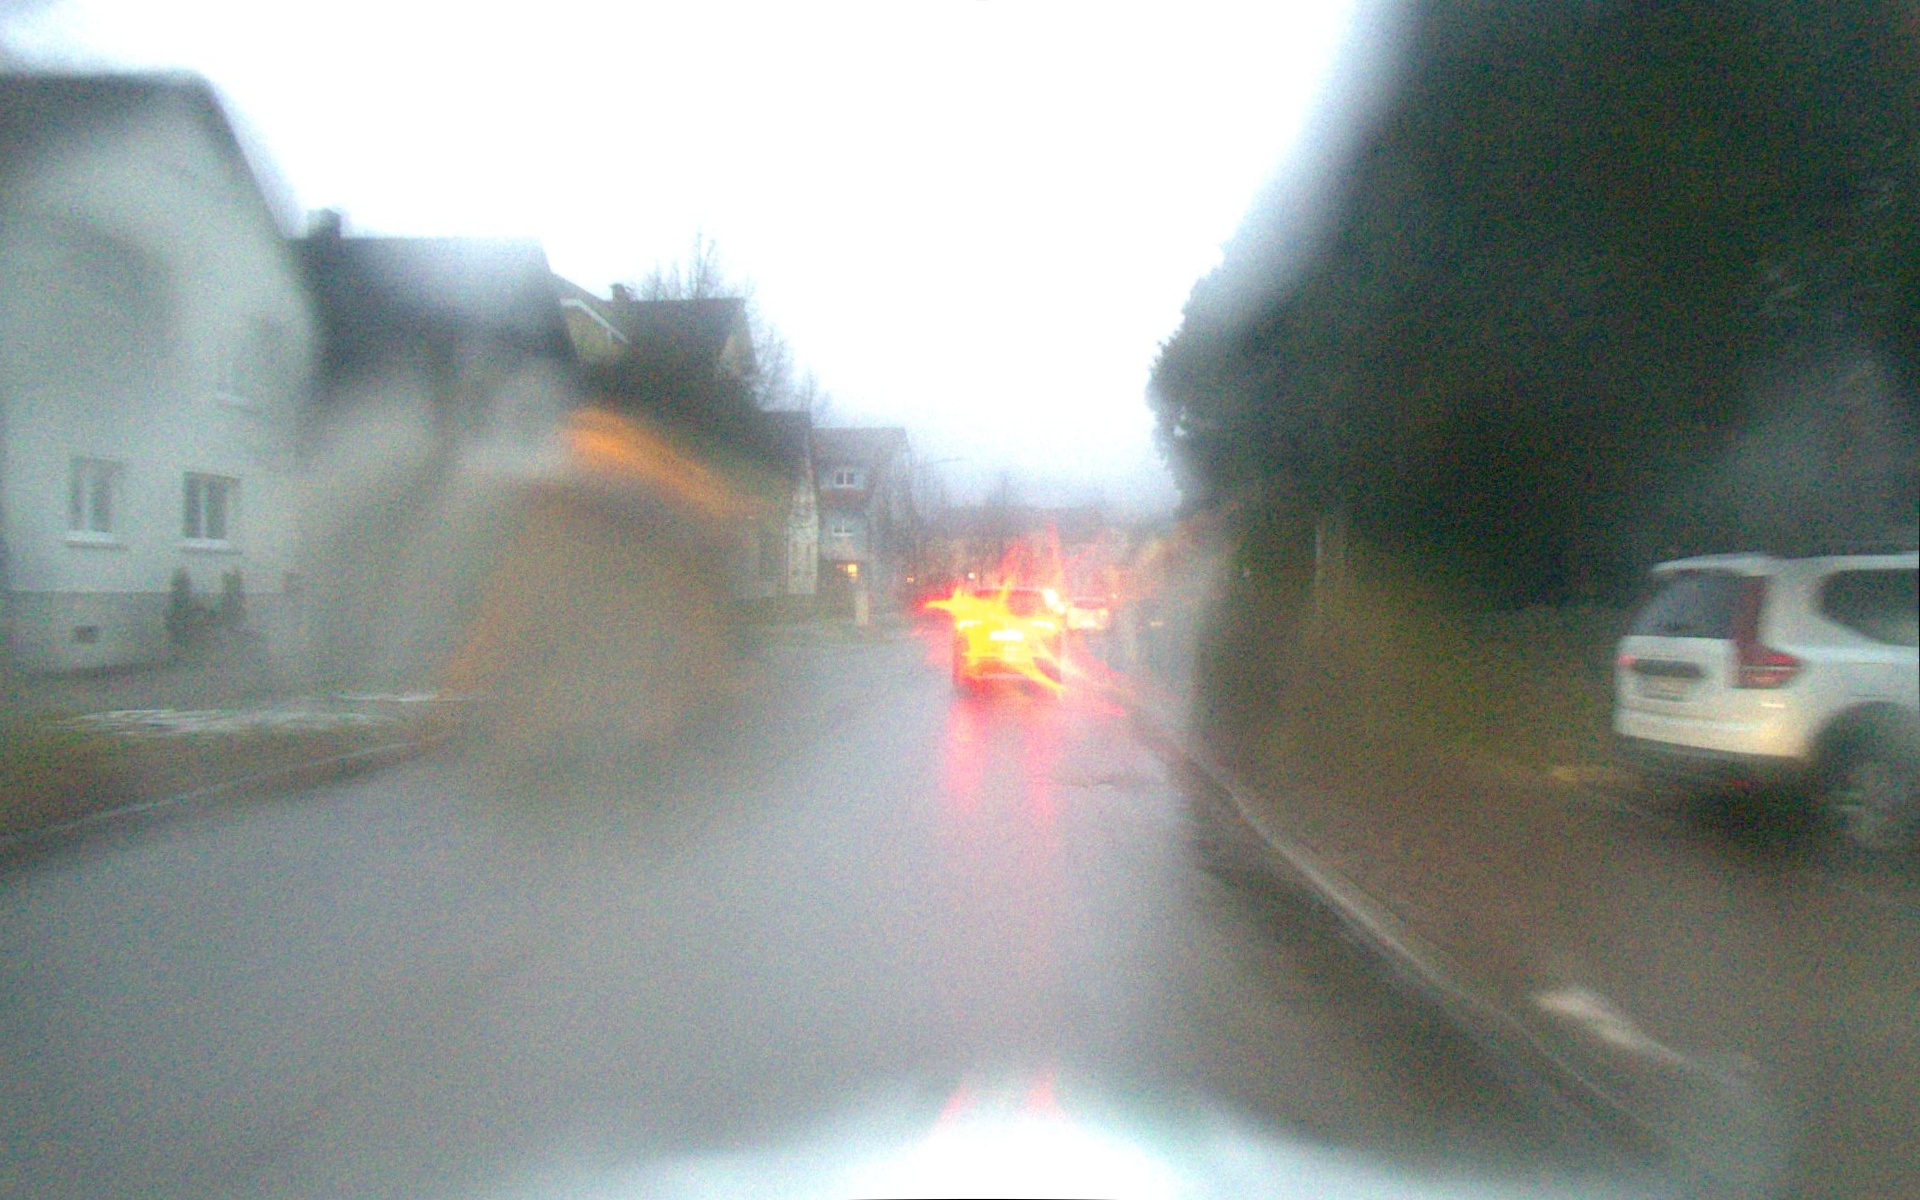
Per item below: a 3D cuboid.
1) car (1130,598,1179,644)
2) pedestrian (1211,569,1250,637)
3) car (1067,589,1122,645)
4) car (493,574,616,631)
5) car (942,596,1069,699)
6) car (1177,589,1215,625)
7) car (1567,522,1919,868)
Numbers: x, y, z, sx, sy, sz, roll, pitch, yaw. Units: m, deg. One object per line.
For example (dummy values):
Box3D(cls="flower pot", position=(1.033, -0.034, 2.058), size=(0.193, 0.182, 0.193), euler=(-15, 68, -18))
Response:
Box3D(cls="car", position=(7.006, 0.754, 59.422), size=(1.614, 1.567, 3.393), euler=(1, -1, 9))
Box3D(cls="pedestrian", position=(7.170, 0.086, 43.865), size=(0.966, 1.772, 1.057), euler=(0, -1, 8))
Box3D(cls="car", position=(5.290, 0.662, 64.736), size=(1.951, 2.049, 4.002), euler=(2, -1, 6))
Box3D(cls="car", position=(-10.826, 0.107, 44.396), size=(1.744, 1.390, 4.003), euler=(2, -1, 9))
Box3D(cls="car", position=(0.792, 0.758, 28.135), size=(1.952, 1.552, 4.001), euler=(2, 0, 2))
Box3D(cls="car", position=(14.172, 0.411, 98.967), size=(1.935, 2.049, 5.750), euler=(-1, 0, 11))
Box3D(cls="car", position=(6.032, 0.454, 9.634), size=(4.237, 1.762, 1.999), euler=(-1, 0, -4))
